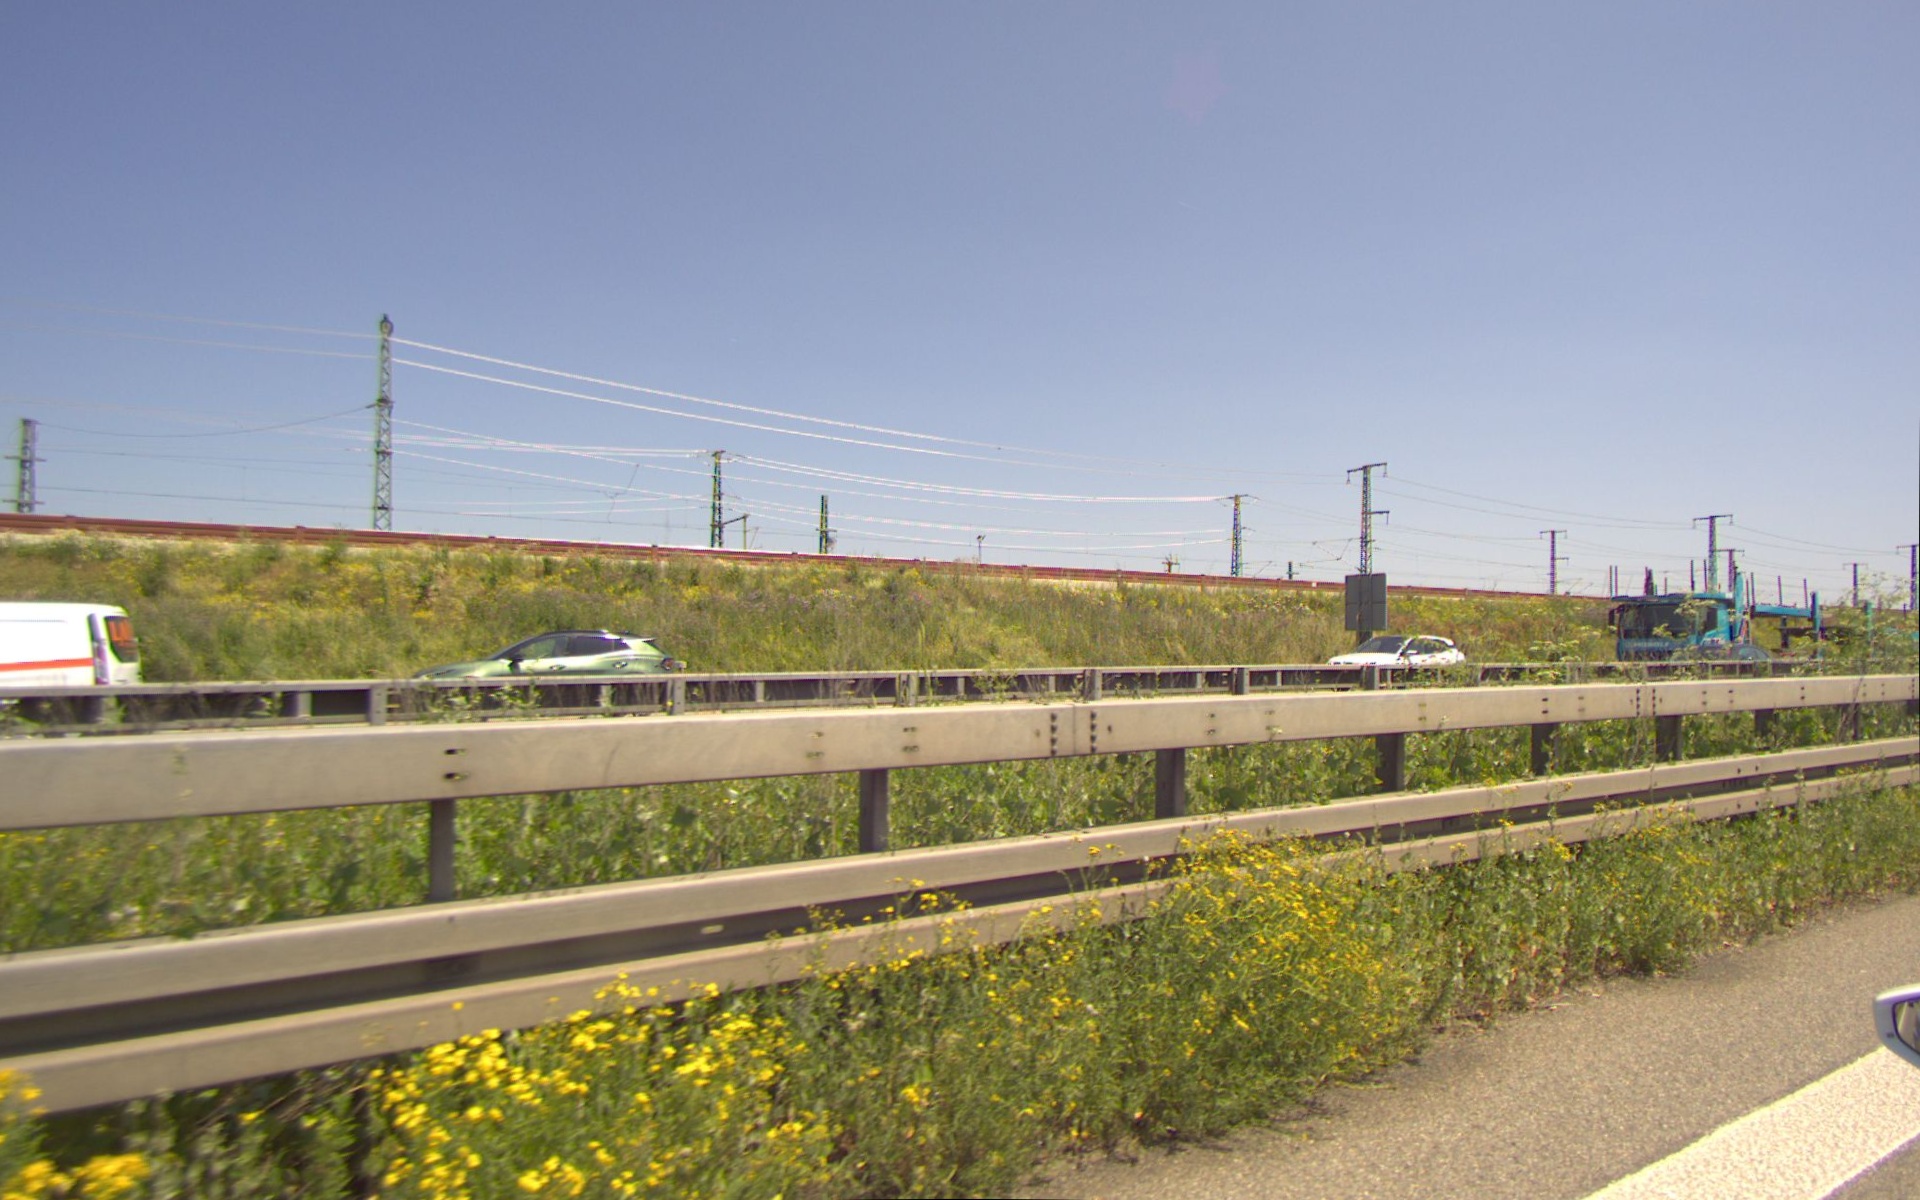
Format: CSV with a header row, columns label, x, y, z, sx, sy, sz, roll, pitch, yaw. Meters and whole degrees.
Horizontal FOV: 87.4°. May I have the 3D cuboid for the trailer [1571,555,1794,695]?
label,x,y,z,sx,sy,sz,roll,pitch,yaw
trailer,22.461,0.798,31.137,7.119,3.919,3.036,1,-1,-31

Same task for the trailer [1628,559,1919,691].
label,x,y,z,sx,sy,sz,roll,pitch,yaw
trailer,29.055,0.943,35.070,15.791,3.919,3.036,2,-1,-31

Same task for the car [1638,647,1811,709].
label,x,y,z,sx,sy,sz,roll,pitch,yaw
car,18.320,1.866,24.048,4.084,1.361,1.878,3,-4,-30

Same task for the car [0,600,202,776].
label,x,y,z,sx,sy,sz,roll,pitch,yaw
car,-11.442,0.922,10.685,5.135,1.824,1.911,1,-3,-30

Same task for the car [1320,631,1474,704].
label,x,y,z,sx,sy,sz,roll,pitch,yaw
car,12.985,2.011,29.806,4.442,2.040,1.985,3,-3,-30

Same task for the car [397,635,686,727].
label,x,y,z,sx,sy,sz,roll,pitch,yaw
car,-7.353,1.355,17.768,4.530,1.436,1.911,1,-3,-30
